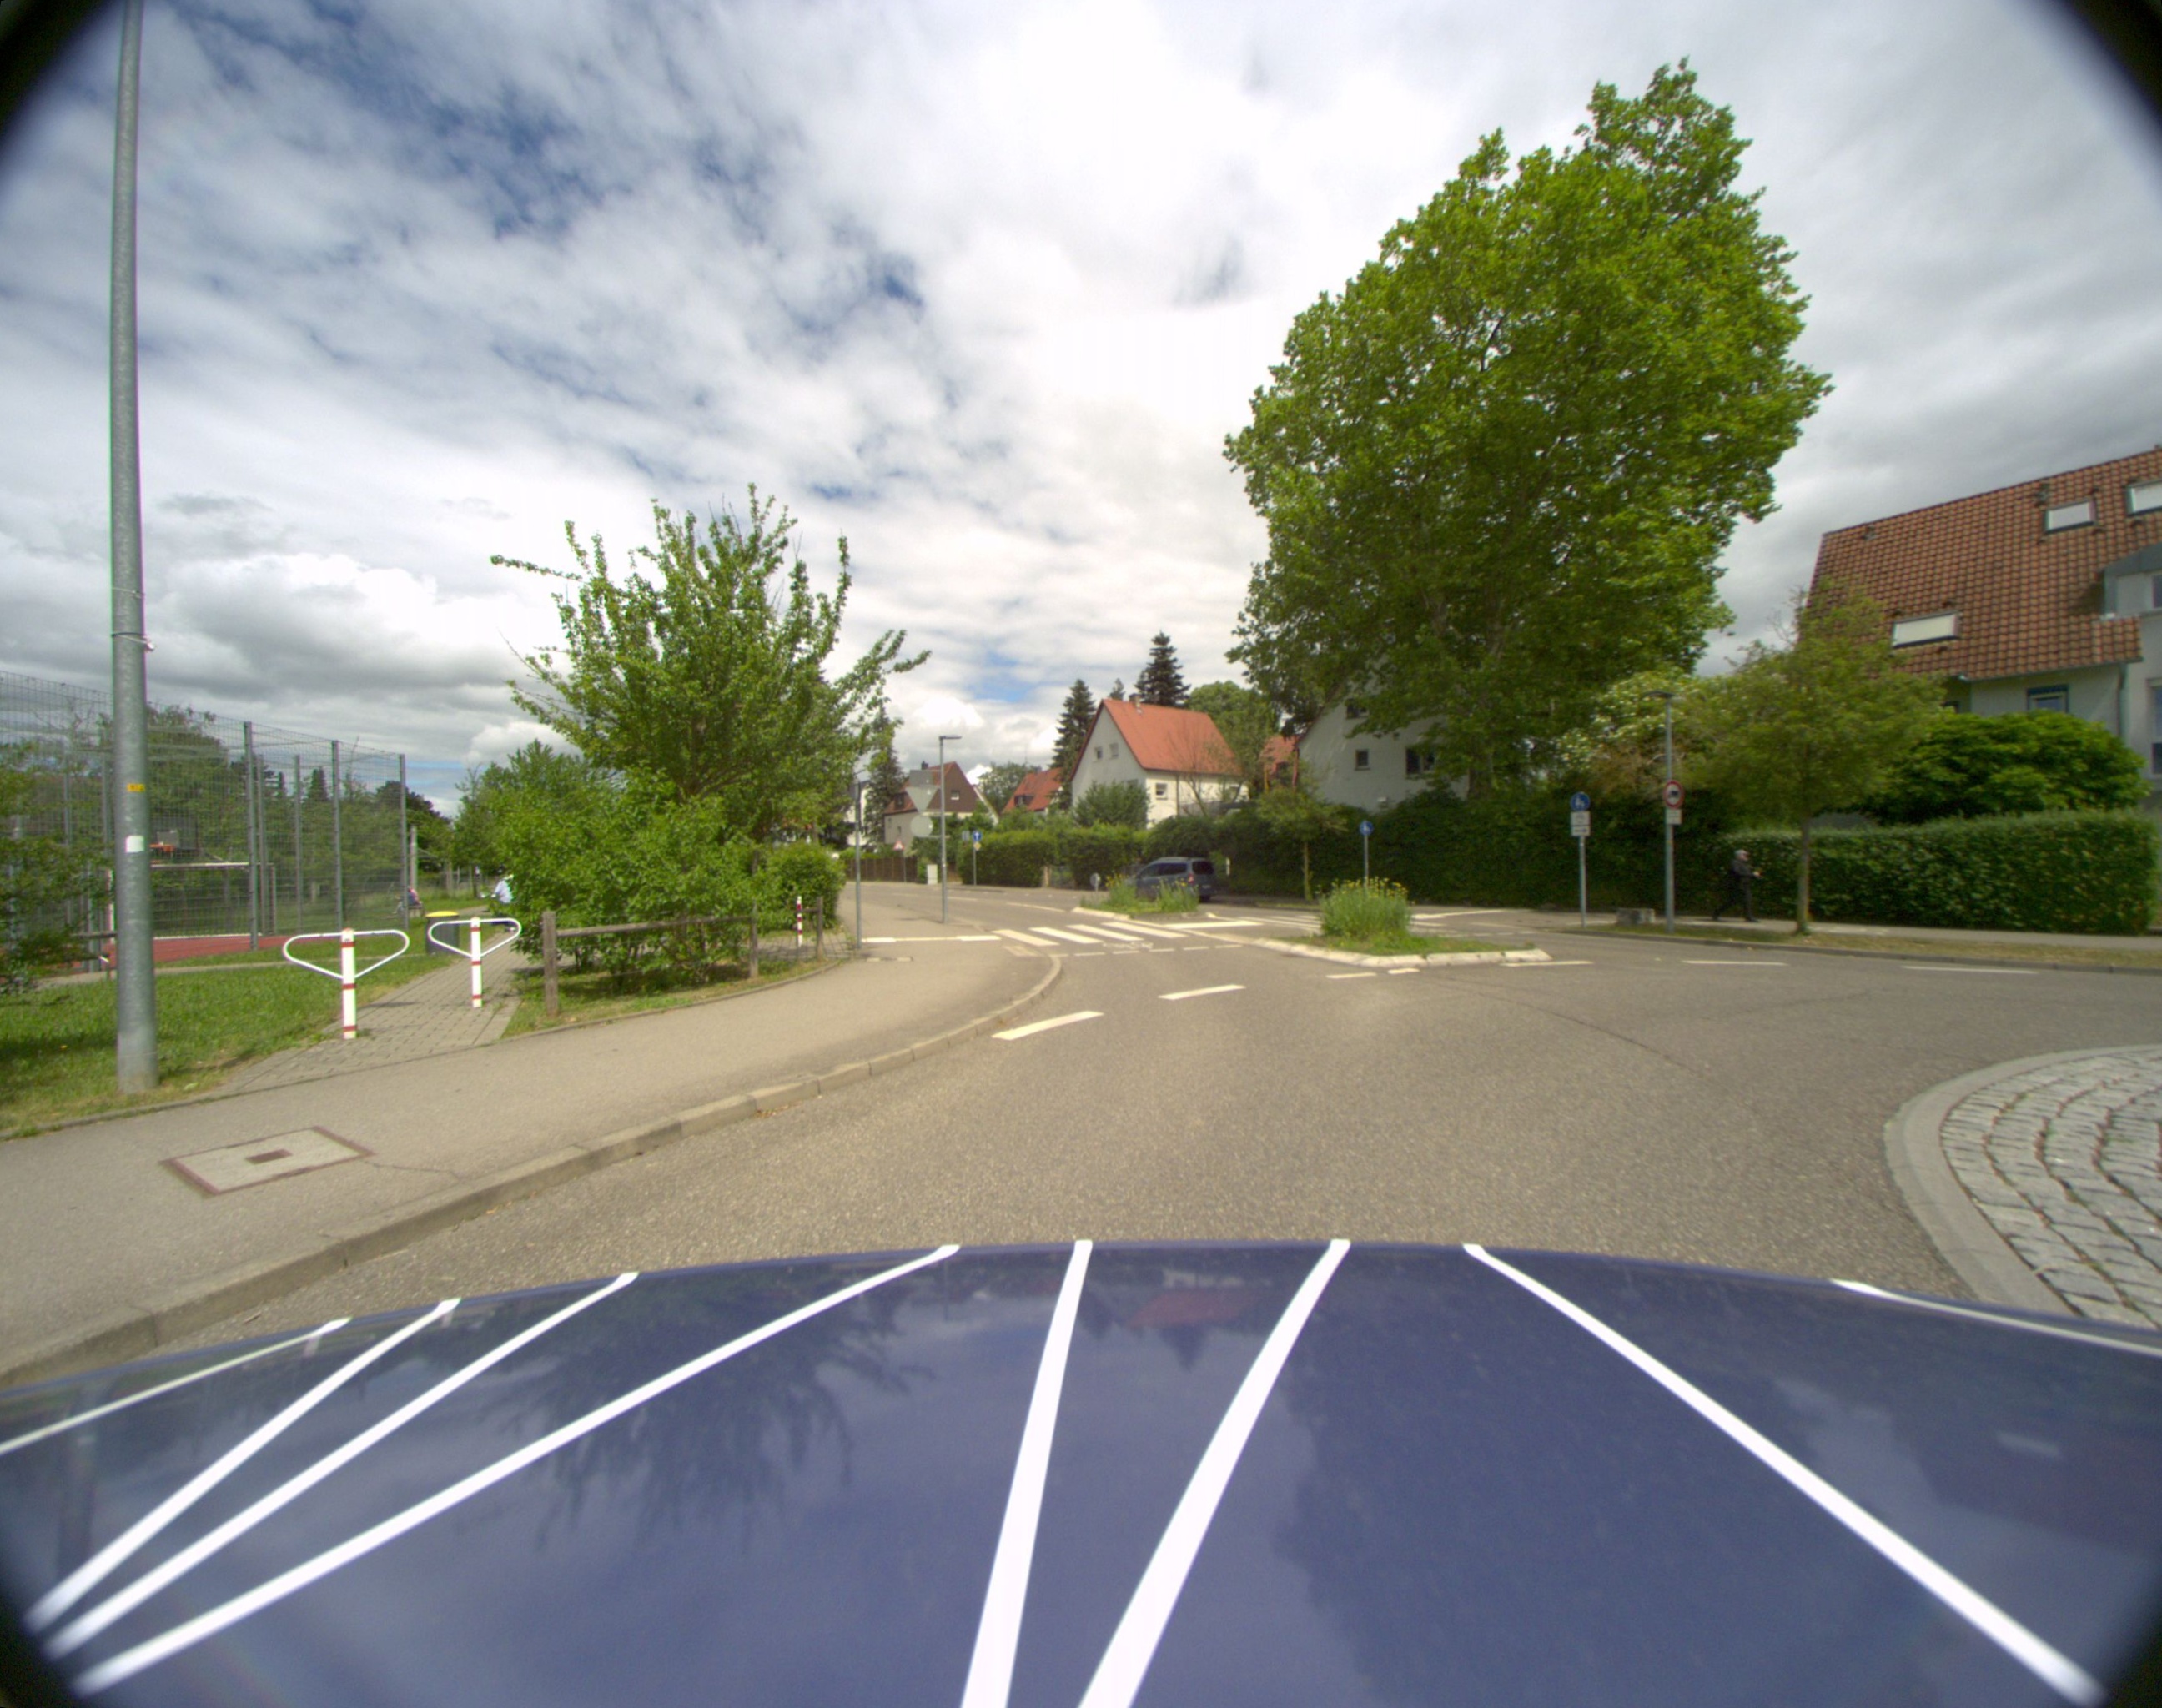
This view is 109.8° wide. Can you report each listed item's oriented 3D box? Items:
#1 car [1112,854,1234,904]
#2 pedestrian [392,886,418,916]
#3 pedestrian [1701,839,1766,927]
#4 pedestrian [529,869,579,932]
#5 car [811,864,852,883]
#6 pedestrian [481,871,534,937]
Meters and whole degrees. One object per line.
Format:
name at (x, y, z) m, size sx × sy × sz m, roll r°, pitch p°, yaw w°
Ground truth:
car at (3.618, 0.968, 30.561) m, size 2.143 × 1.762 × 4.452 m, roll -3°, pitch 1°, yaw -44°
pedestrian at (-29.112, 2.012, 32.733) m, size 0.566 × 1.226 × 0.797 m, roll 0°, pitch 0°, yaw -20°
pedestrian at (15.511, 0.678, 18.062) m, size 0.876 × 2.001 × 1.038 m, roll 0°, pitch 0°, yaw -41°
pedestrian at (-14.907, 1.304, 21.498) m, size 0.929 × 1.684 × 0.897 m, roll -2°, pitch 2°, yaw 41°
car at (-20.210, 1.584, 61.472) m, size 2.004 × 1.470 × 4.635 m, roll 0°, pitch -1°, yaw -34°
pedestrian at (-15.593, 1.345, 20.668) m, size 0.929 × 1.684 × 0.897 m, roll -2°, pitch 2°, yaw 41°
